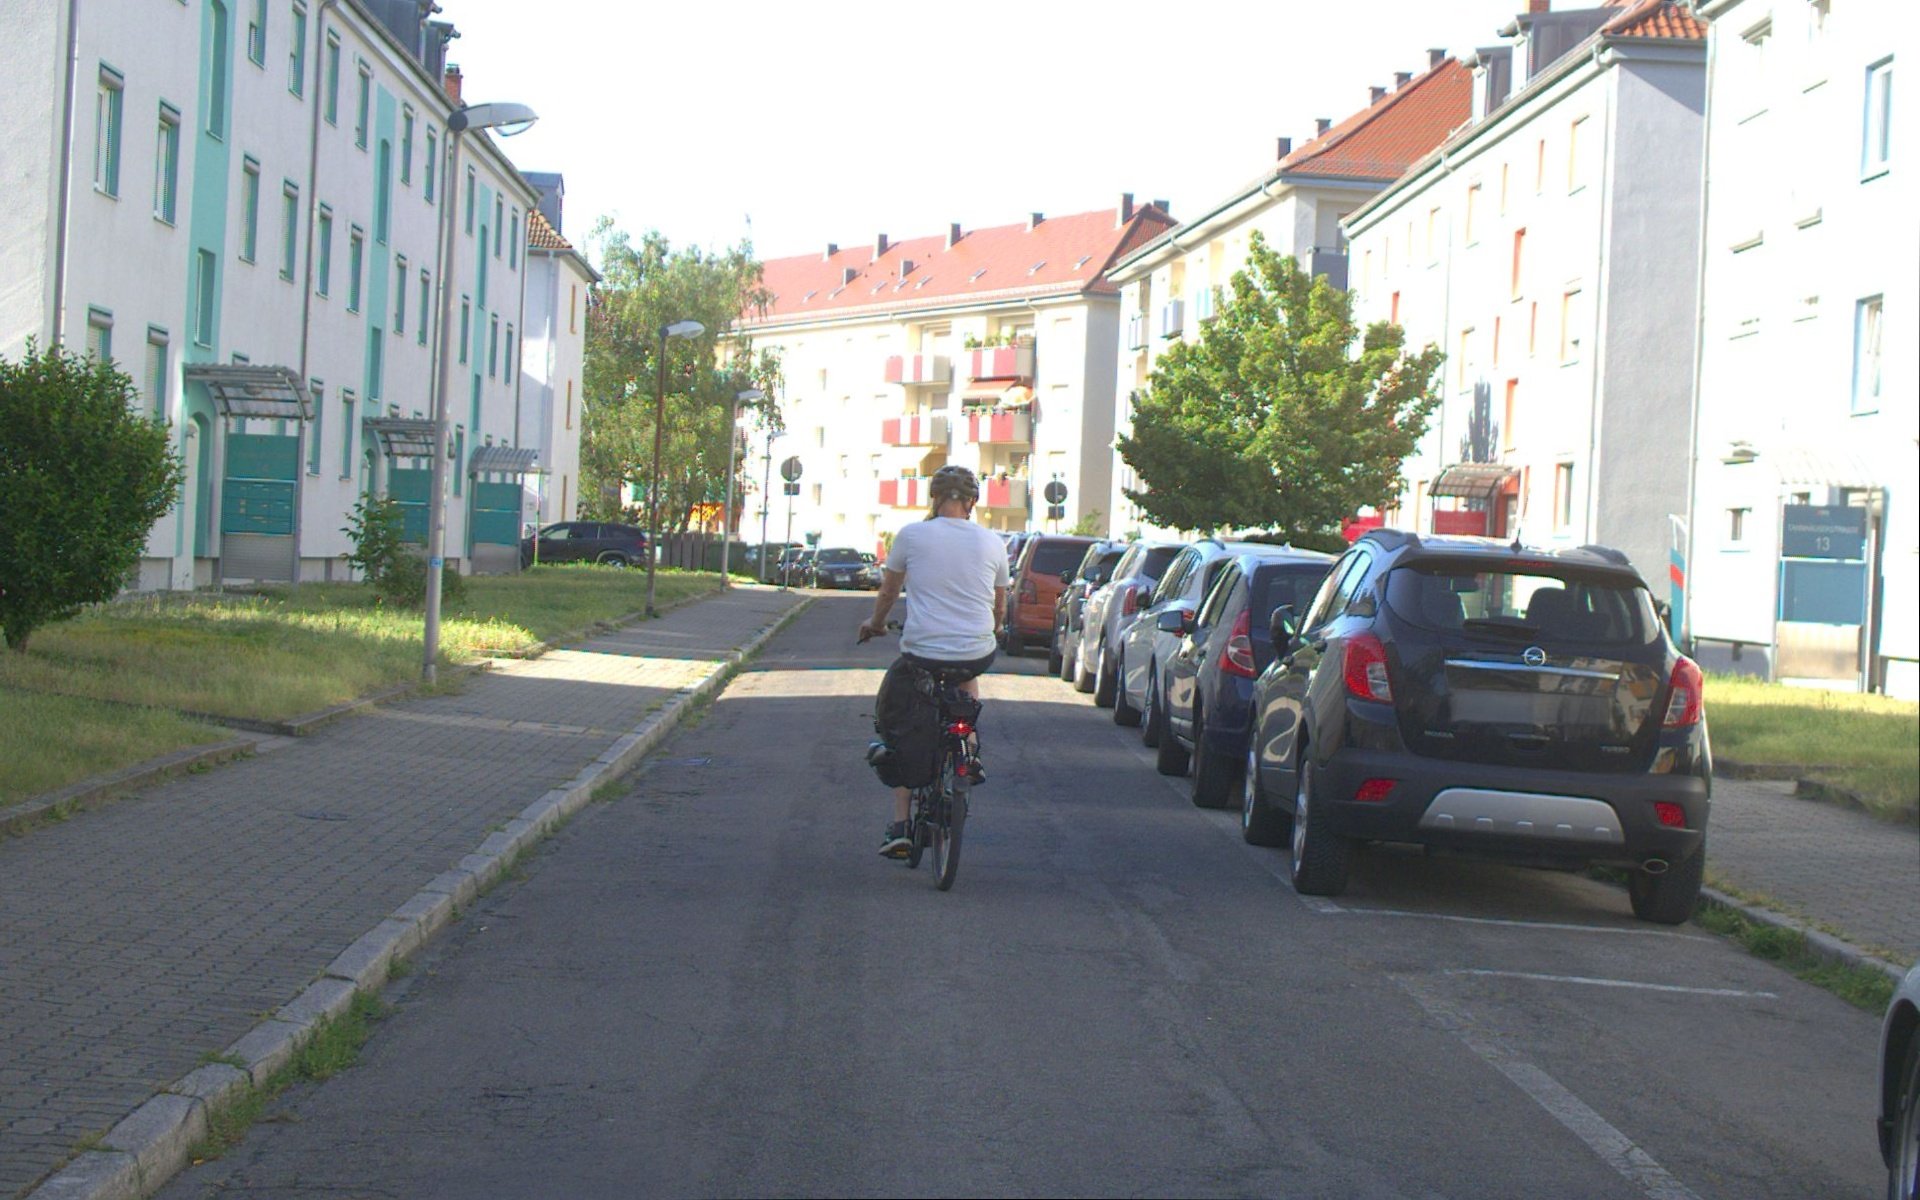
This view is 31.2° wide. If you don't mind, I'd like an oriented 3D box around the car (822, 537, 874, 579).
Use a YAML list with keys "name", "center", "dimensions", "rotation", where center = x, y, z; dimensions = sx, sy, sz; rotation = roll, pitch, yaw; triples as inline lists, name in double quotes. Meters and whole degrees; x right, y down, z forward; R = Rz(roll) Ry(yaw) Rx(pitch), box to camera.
- name: "car"
  center: [-3.708, -1.405, 113.287]
  dimensions: [1.469, 1.331, 3.141]
  rotation: [-1, 1, -6]

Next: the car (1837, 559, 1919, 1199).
- name: "car"
  center: [2.743, 0.747, 6.417]
  dimensions: [1.480, 1.524, 2.940]
  rotation: [4, 1, 3]

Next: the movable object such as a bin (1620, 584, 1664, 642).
- name: "movable object such as a bin"
  center: [10.788, 0.209, 54.415]
  dimensions: [0.523, 0.883, 0.633]
  rotation: [2, 1, -1]

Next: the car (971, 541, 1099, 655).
- name: "car"
  center: [1.204, -0.069, 56.786]
  dimensions: [1.700, 1.665, 4.380]
  rotation: [4, 1, -3]

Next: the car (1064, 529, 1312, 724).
- name: "car"
  center: [2.130, 0.197, 33.342]
  dimensions: [1.750, 1.612, 4.453]
  rotation: [4, 1, -3]

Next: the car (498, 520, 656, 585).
- name: "car"
  center: [-10.498, -1.318, 94.432]
  dimensions: [4.230, 1.633, 1.583]
  rotation: [2, 1, -5]

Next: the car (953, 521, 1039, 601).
- name: "car"
  center: [0.818, -0.932, 80.477]
  dimensions: [1.674, 1.733, 3.943]
  rotation: [3, 1, -3]

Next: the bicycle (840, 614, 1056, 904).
- name: "bicycle"
  center: [-0.086, 0.659, 15.176]
  dimensions: [0.808, 1.124, 2.102]
  rotation: [1, 1, -4]

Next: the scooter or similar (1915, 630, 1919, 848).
- name: "scooter or similar"
  center: [5.287, 0.745, 17.318]
  dimensions: [0.483, 1.145, 1.589]
  rotation: [-1, 1, -1]

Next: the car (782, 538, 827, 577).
- name: "car"
  center: [-5.617, -1.552, 124.284]
  dimensions: [1.469, 1.331, 3.141]
  rotation: [-1, 1, -5]

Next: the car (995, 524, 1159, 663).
- name: "car"
  center: [1.529, -0.117, 46.202]
  dimensions: [1.861, 1.662, 4.127]
  rotation: [4, 1, -1]

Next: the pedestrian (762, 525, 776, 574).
- name: "pedestrian"
  center: [-6.075, -1.604, 109.318]
  dimensions: [0.434, 1.569, 0.543]
  rotation: [1, 1, -1]

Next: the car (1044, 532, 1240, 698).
- name: "car"
  center: [1.964, 0.115, 38.339]
  dimensions: [1.712, 1.590, 4.398]
  rotation: [5, 1, -2]

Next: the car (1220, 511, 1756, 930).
- name: "car"
  center: [2.371, 0.454, 16.587]
  dimensions: [1.783, 1.642, 4.469]
  rotation: [4, 1, 0]

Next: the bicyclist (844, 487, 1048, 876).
- name: "bicyclist"
  center: [-0.072, 0.338, 15.015]
  dimensions: [0.808, 1.638, 0.899]
  rotation: [1, 1, -3]

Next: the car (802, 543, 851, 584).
- name: "car"
  center: [-4.582, -1.264, 117.642]
  dimensions: [1.469, 1.331, 3.141]
  rotation: [-2, 1, -5]

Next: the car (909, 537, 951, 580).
- name: "car"
  center: [-1.145, -1.585, 129.802]
  dimensions: [1.381, 1.492, 3.077]
  rotation: [3, 1, -3]

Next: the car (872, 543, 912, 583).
- name: "car"
  center: [-2.846, -1.535, 142.426]
  dimensions: [1.469, 1.511, 3.077]
  rotation: [3, 1, -3]

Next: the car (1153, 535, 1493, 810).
- name: "car"
  center: [2.185, 0.376, 21.682]
  dimensions: [1.641, 1.493, 4.157]
  rotation: [2, 1, 0]

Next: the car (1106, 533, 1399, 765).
- name: "car"
  center: [2.228, 0.319, 27.291]
  dimensions: [1.690, 1.569, 4.435]
  rotation: [3, 1, -2]

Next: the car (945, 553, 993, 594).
- name: "car"
  center: [0.316, -0.958, 122.901]
  dimensions: [1.469, 1.331, 3.141]
  rotation: [3, 1, -3]
